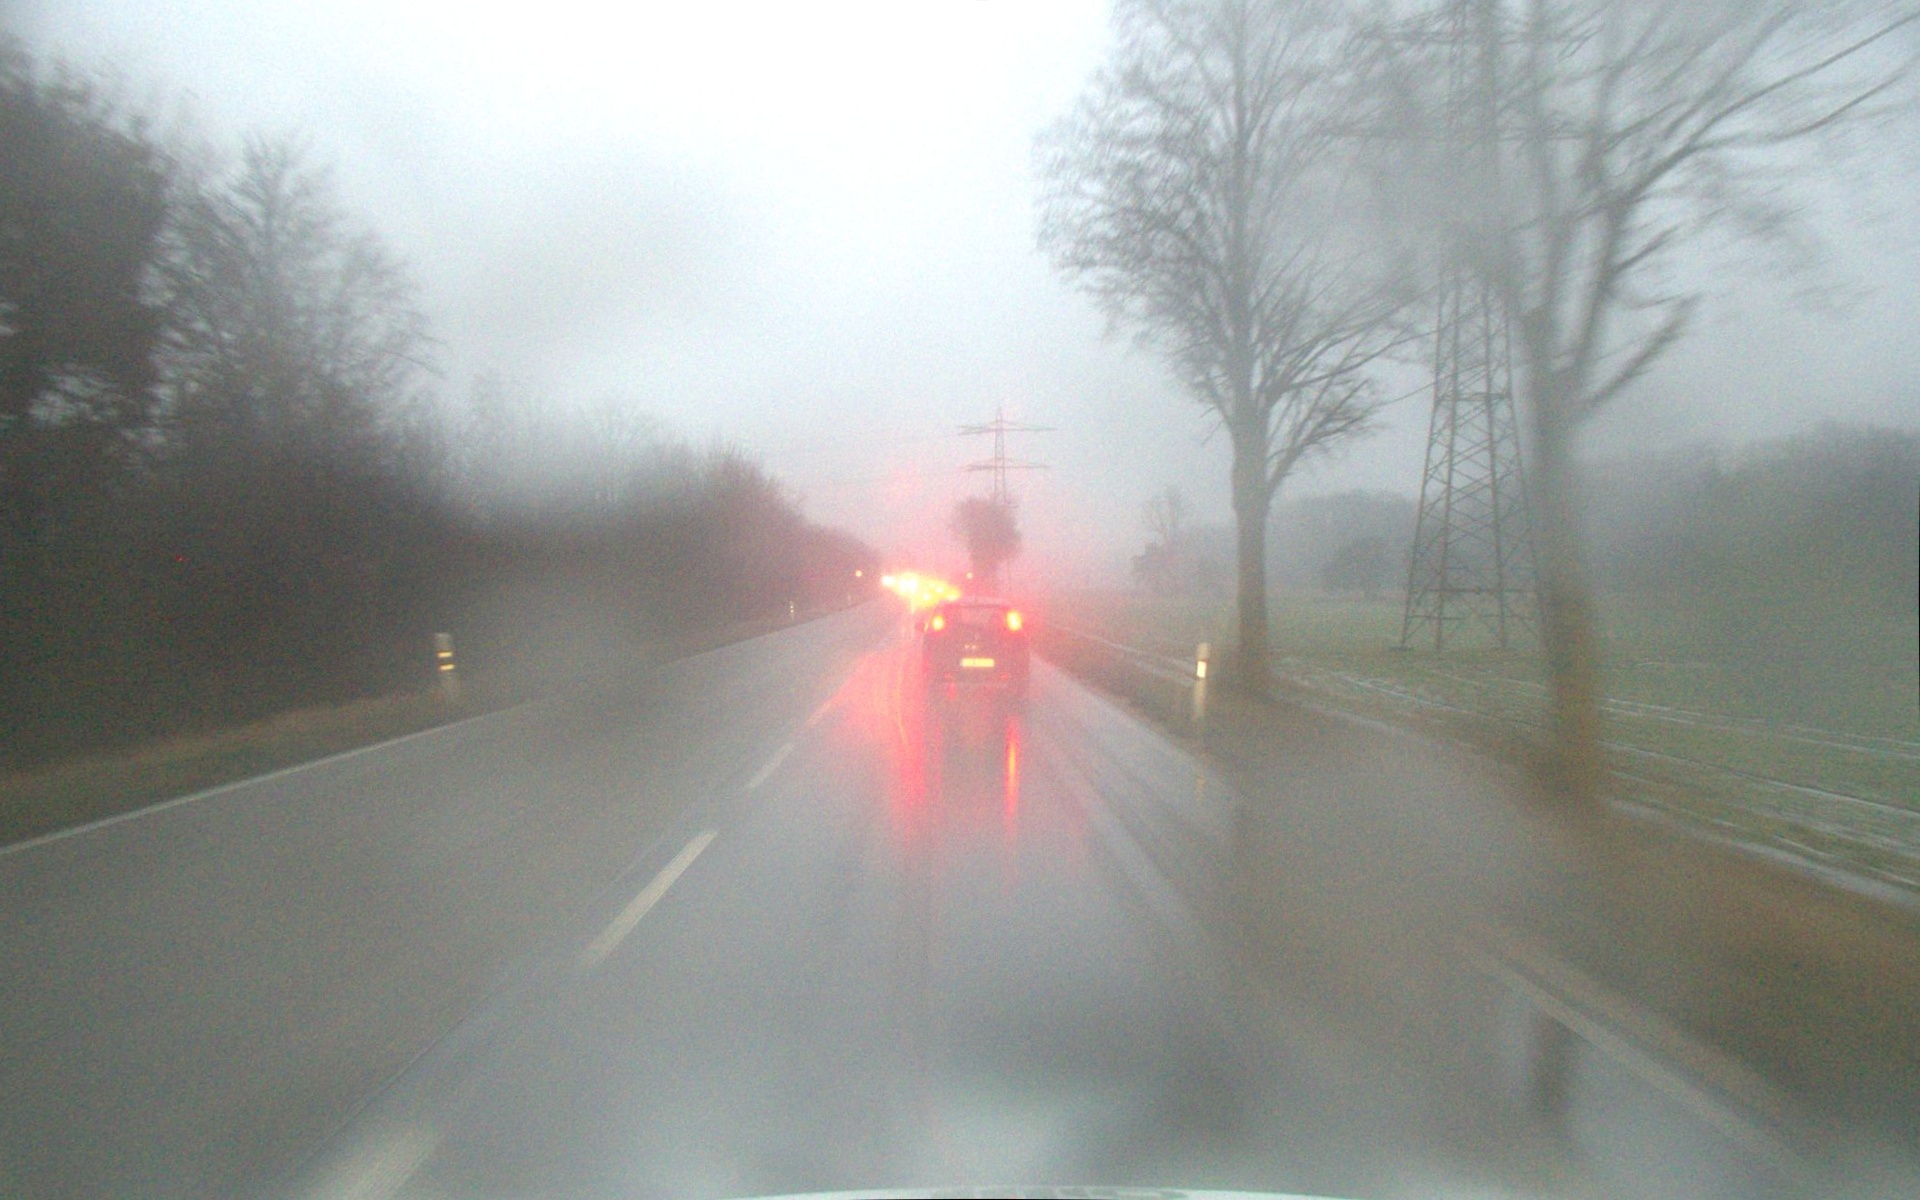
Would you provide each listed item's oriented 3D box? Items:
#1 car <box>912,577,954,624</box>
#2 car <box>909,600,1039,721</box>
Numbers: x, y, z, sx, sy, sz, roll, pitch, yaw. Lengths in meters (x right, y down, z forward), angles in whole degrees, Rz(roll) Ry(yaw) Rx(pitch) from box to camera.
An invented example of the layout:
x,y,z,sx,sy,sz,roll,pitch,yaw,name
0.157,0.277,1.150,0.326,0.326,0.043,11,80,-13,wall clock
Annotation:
x,y,z,sx,sy,sz,roll,pitch,yaw,name
-1.320,-0.005,81.398,1.953,2.048,4.001,2,2,0,car
0.180,0.908,26.890,1.953,1.782,3.999,0,0,-1,car
